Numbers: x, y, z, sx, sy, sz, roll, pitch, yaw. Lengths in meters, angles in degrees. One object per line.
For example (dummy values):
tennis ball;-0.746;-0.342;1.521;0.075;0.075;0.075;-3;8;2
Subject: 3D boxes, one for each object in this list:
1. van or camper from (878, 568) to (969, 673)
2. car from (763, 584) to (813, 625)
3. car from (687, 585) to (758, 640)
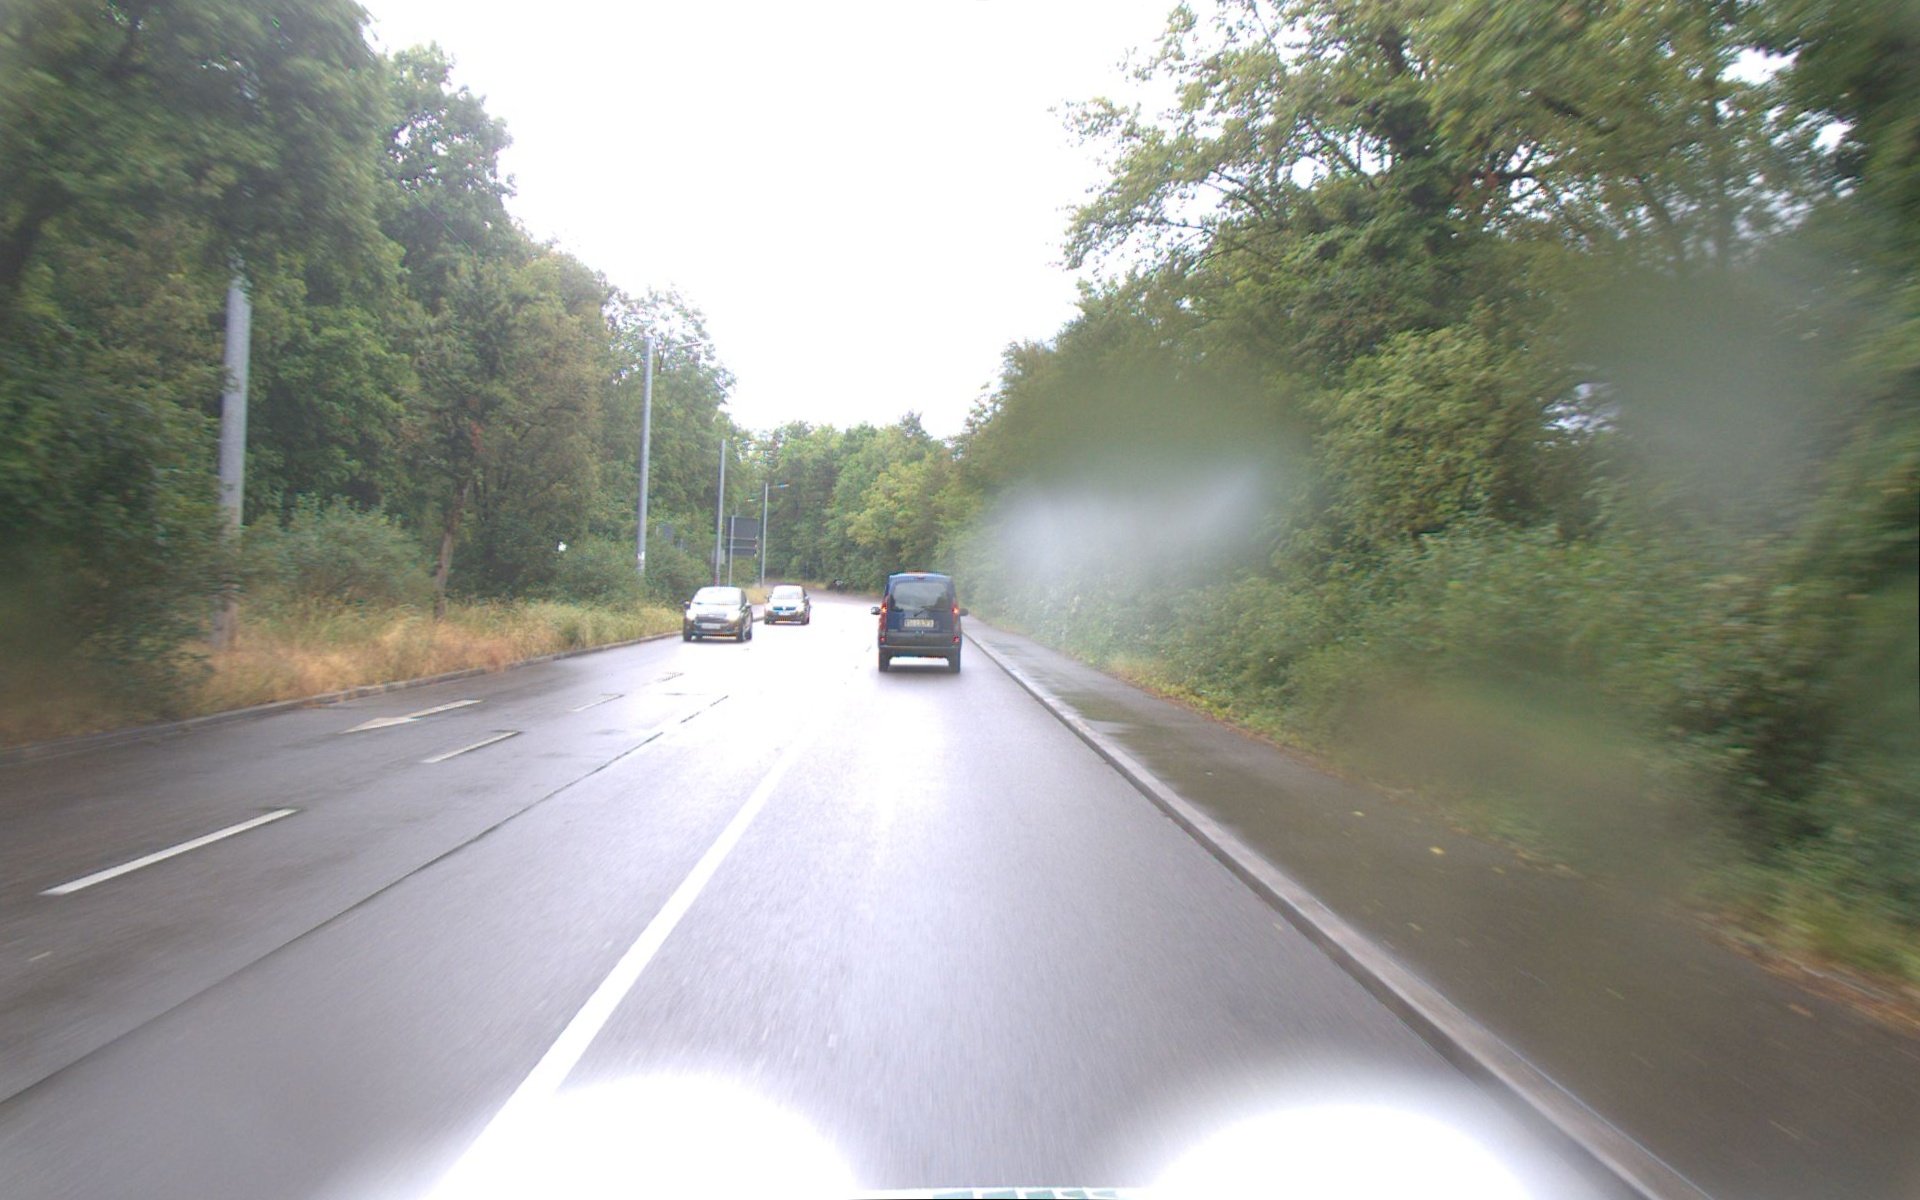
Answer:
van or camper;-0.729;0.340;32.753;1.678;1.857;4.000;0;2;-1
car;-7.242;0.159;69.910;1.736;1.638;4.082;2;0;-2
car;-6.613;0.325;46.363;1.566;1.466;3.989;1;0;-2
